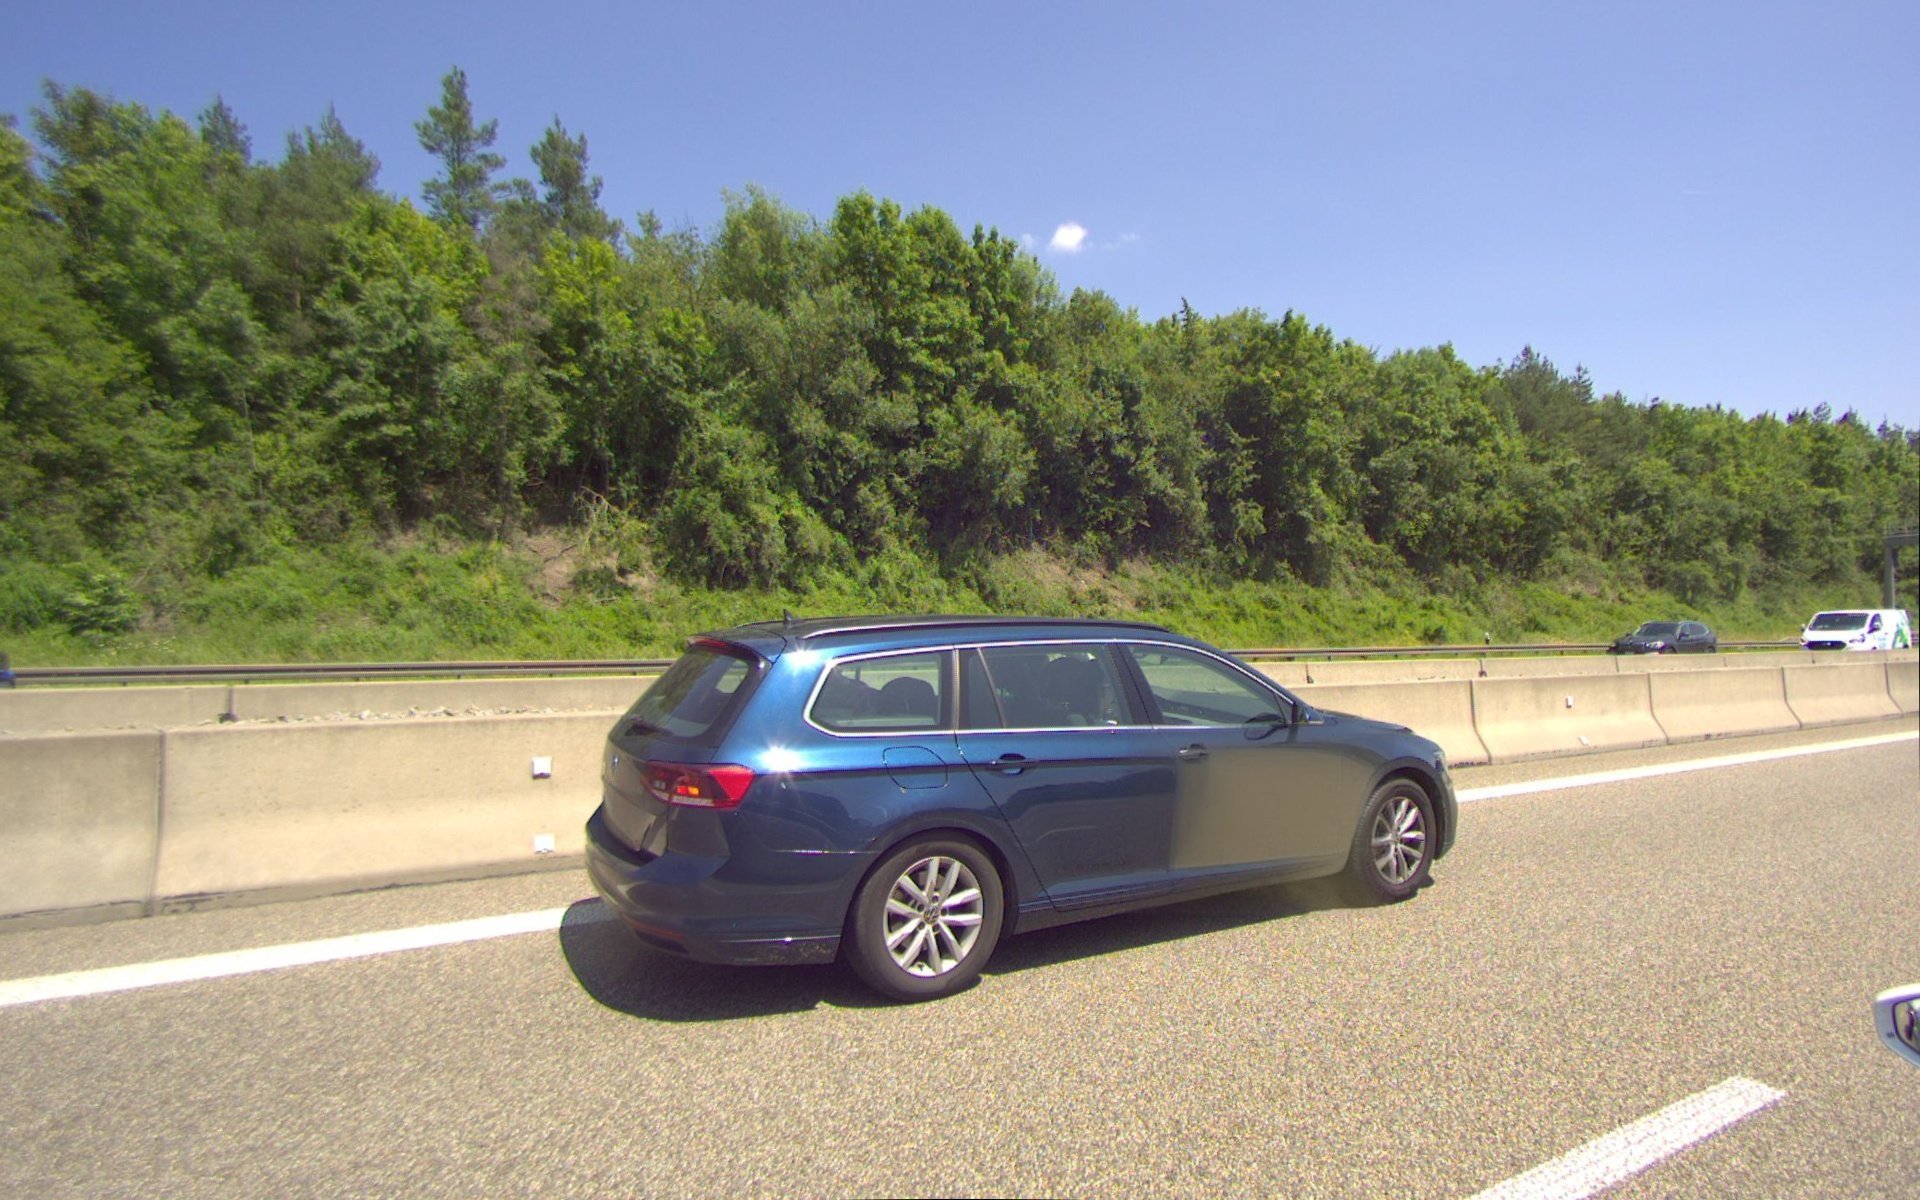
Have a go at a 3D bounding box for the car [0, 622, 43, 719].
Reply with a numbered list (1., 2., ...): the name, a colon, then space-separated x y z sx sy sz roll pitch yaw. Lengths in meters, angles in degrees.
1. car: -15.617 0.974 13.863 3.949 1.352 1.986 1 -1 -28

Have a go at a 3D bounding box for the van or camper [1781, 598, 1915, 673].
1. van or camper: 31.230 1.309 35.308 4.751 2.415 1.986 2 -6 -30

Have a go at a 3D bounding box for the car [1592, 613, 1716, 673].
1. car: 25.449 1.576 36.796 4.428 2.040 2.102 2 0 -32

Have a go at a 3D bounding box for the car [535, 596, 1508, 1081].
1. car: 0.481 0.778 5.044 4.623 1.469 1.865 2 0 -30
